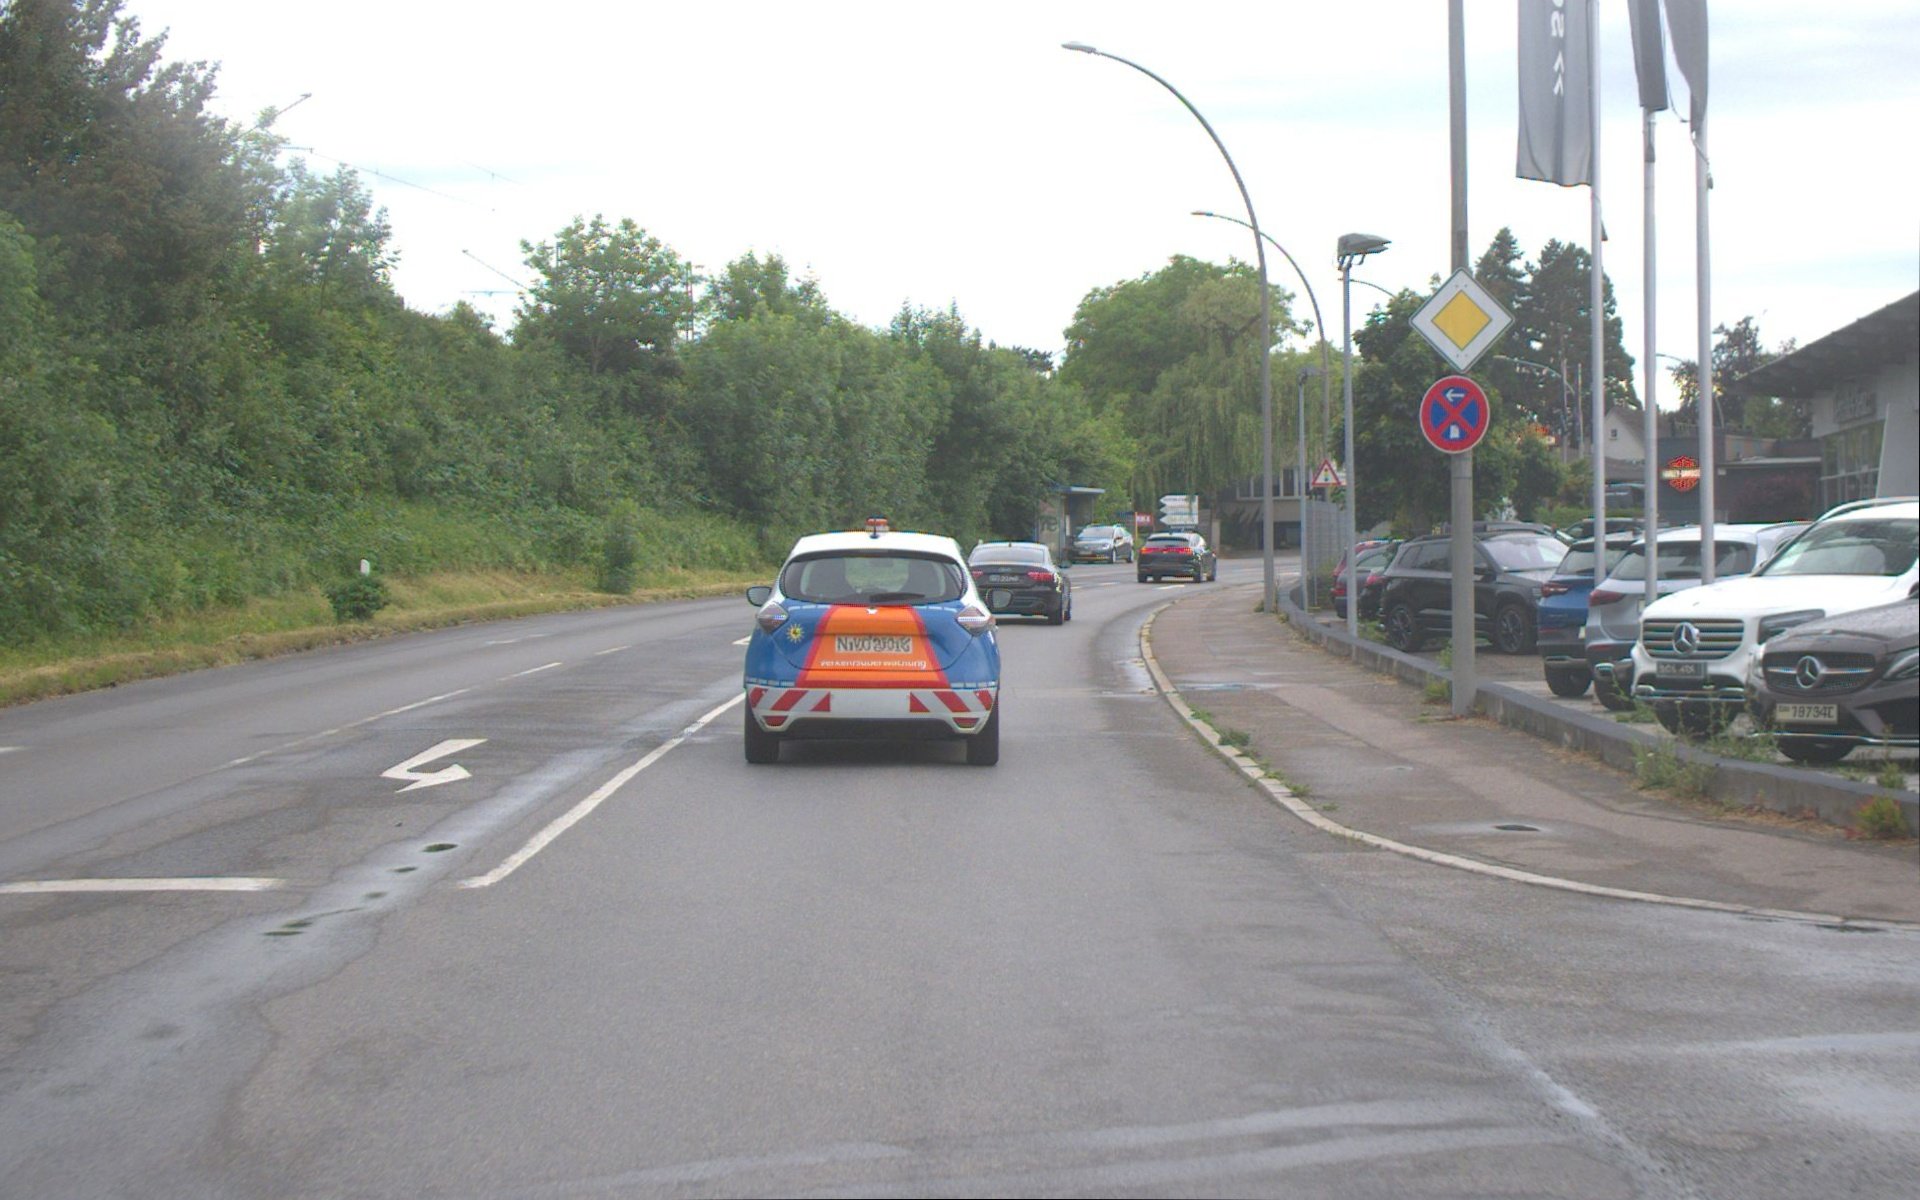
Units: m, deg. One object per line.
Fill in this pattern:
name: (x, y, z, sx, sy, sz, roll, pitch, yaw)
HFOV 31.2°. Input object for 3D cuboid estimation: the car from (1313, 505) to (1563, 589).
car: (9.859, -1.106, 71.019, 4.692, 1.657, 1.996, 2, 1, 34)

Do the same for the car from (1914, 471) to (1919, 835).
car: (6.565, 0.199, 16.624, 1.965, 1.665, 4.354, 0, 2, 43)

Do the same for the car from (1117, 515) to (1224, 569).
car: (5.966, -1.650, 96.939, 1.995, 1.415, 3.997, -1, 1, 19)

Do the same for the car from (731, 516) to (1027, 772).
car: (-0.575, 0.255, 24.279, 1.888, 1.626, 4.000, 1, 1, -1)

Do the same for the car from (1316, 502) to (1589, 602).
car: (8.011, -0.792, 56.122, 3.997, 1.550, 1.894, 2, 1, 41)

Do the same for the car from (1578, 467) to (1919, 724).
car: (6.695, -0.105, 24.370, 4.414, 1.646, 1.927, -2, 2, -34)

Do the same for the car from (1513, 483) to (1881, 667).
car: (7.499, -0.283, 34.690, 1.841, 1.626, 4.357, -3, 1, 38)

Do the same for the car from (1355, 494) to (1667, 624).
car: (7.372, -0.578, 46.470, 1.836, 1.602, 4.551, -3, 2, -26)

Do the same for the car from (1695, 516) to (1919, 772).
car: (6.661, 0.170, 20.710, 4.128, 1.389, 1.852, -2, 2, -29)

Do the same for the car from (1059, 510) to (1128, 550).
car: (5.088, -2.657, 130.842, 1.994, 1.469, 4.698, 1, 1, 10)

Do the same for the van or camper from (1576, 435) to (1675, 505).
van or camper: (25.712, -5.039, 132.633, 2.044, 2.584, 6.581, -1, 2, 26)

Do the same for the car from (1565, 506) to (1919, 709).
car: (7.094, 0.036, 30.496, 1.730, 1.594, 3.806, -2, 1, 39)

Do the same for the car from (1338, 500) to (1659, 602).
car: (8.200, -0.743, 52.542, 4.438, 1.474, 1.930, 0, 2, 36)

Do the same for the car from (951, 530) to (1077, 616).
car: (0.943, -0.471, 58.223, 1.721, 1.371, 3.933, 1, 1, 7)
